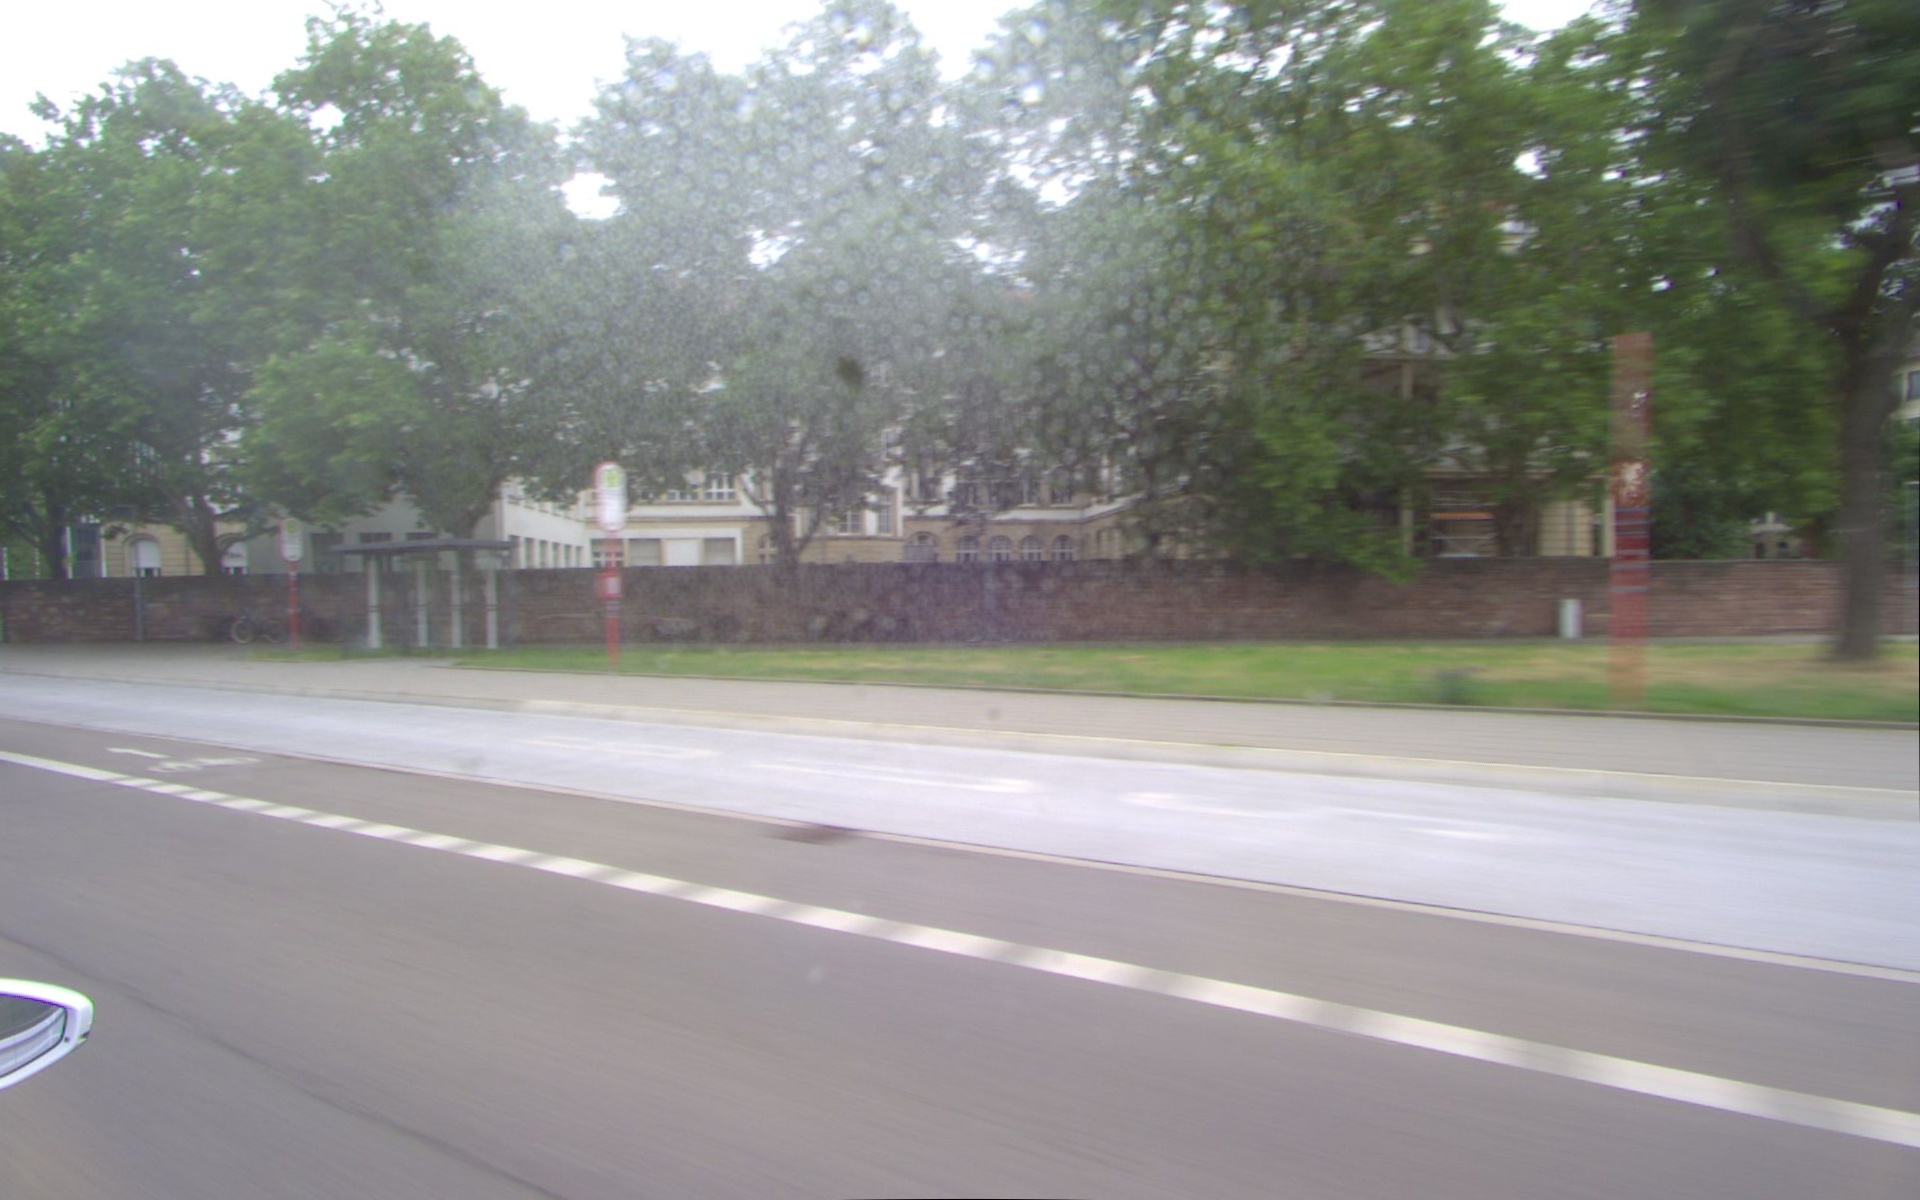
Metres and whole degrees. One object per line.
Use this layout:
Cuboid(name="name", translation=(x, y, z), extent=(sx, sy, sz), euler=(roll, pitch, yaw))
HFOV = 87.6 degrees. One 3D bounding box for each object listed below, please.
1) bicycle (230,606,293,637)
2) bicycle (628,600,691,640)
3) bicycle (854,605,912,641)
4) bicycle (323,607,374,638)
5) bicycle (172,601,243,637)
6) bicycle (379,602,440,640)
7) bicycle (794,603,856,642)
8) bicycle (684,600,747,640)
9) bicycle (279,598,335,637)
Cuboid(name="bicycle", translation=(-22.746, 0.684, 32.624), extent=(1.737, 0.964, 0.654), euler=(0, 3, 13))
Cuboid(name="bicycle", translation=(-8.942, 0.596, 29.837), extent=(1.680, 1.152, 0.595), euler=(-1, 3, 5))
Cuboid(name="bicycle", translation=(-2.234, 0.662, 29.002), extent=(1.605, 1.005, 0.550), euler=(-1, 3, 2))
Cuboid(name="bicycle", translation=(-19.451, 0.727, 31.861), extent=(1.497, 0.955, 0.416), euler=(0, 3, 13))
Cuboid(name="bicycle", translation=(-24.826, 0.628, 33.042), extent=(1.757, 1.115, 0.720), euler=(-1, 3, 2))
Cuboid(name="bicycle", translation=(-17.076, 0.649, 31.059), extent=(1.623, 1.120, 0.597), euler=(0, 3, 11))
Cuboid(name="bicycle", translation=(-3.920, 0.648, 29.173), extent=(1.680, 1.074, 0.595), euler=(-1, 3, 5))
Cuboid(name="bicycle", translation=(-7.250, 0.581, 29.674), extent=(1.680, 1.145, 0.595), euler=(-1, 3, 5))
Cuboid(name="bicycle", translation=(-20.999, 0.557, 32.223), extent=(1.596, 1.238, 0.499), euler=(0, 3, 13))
